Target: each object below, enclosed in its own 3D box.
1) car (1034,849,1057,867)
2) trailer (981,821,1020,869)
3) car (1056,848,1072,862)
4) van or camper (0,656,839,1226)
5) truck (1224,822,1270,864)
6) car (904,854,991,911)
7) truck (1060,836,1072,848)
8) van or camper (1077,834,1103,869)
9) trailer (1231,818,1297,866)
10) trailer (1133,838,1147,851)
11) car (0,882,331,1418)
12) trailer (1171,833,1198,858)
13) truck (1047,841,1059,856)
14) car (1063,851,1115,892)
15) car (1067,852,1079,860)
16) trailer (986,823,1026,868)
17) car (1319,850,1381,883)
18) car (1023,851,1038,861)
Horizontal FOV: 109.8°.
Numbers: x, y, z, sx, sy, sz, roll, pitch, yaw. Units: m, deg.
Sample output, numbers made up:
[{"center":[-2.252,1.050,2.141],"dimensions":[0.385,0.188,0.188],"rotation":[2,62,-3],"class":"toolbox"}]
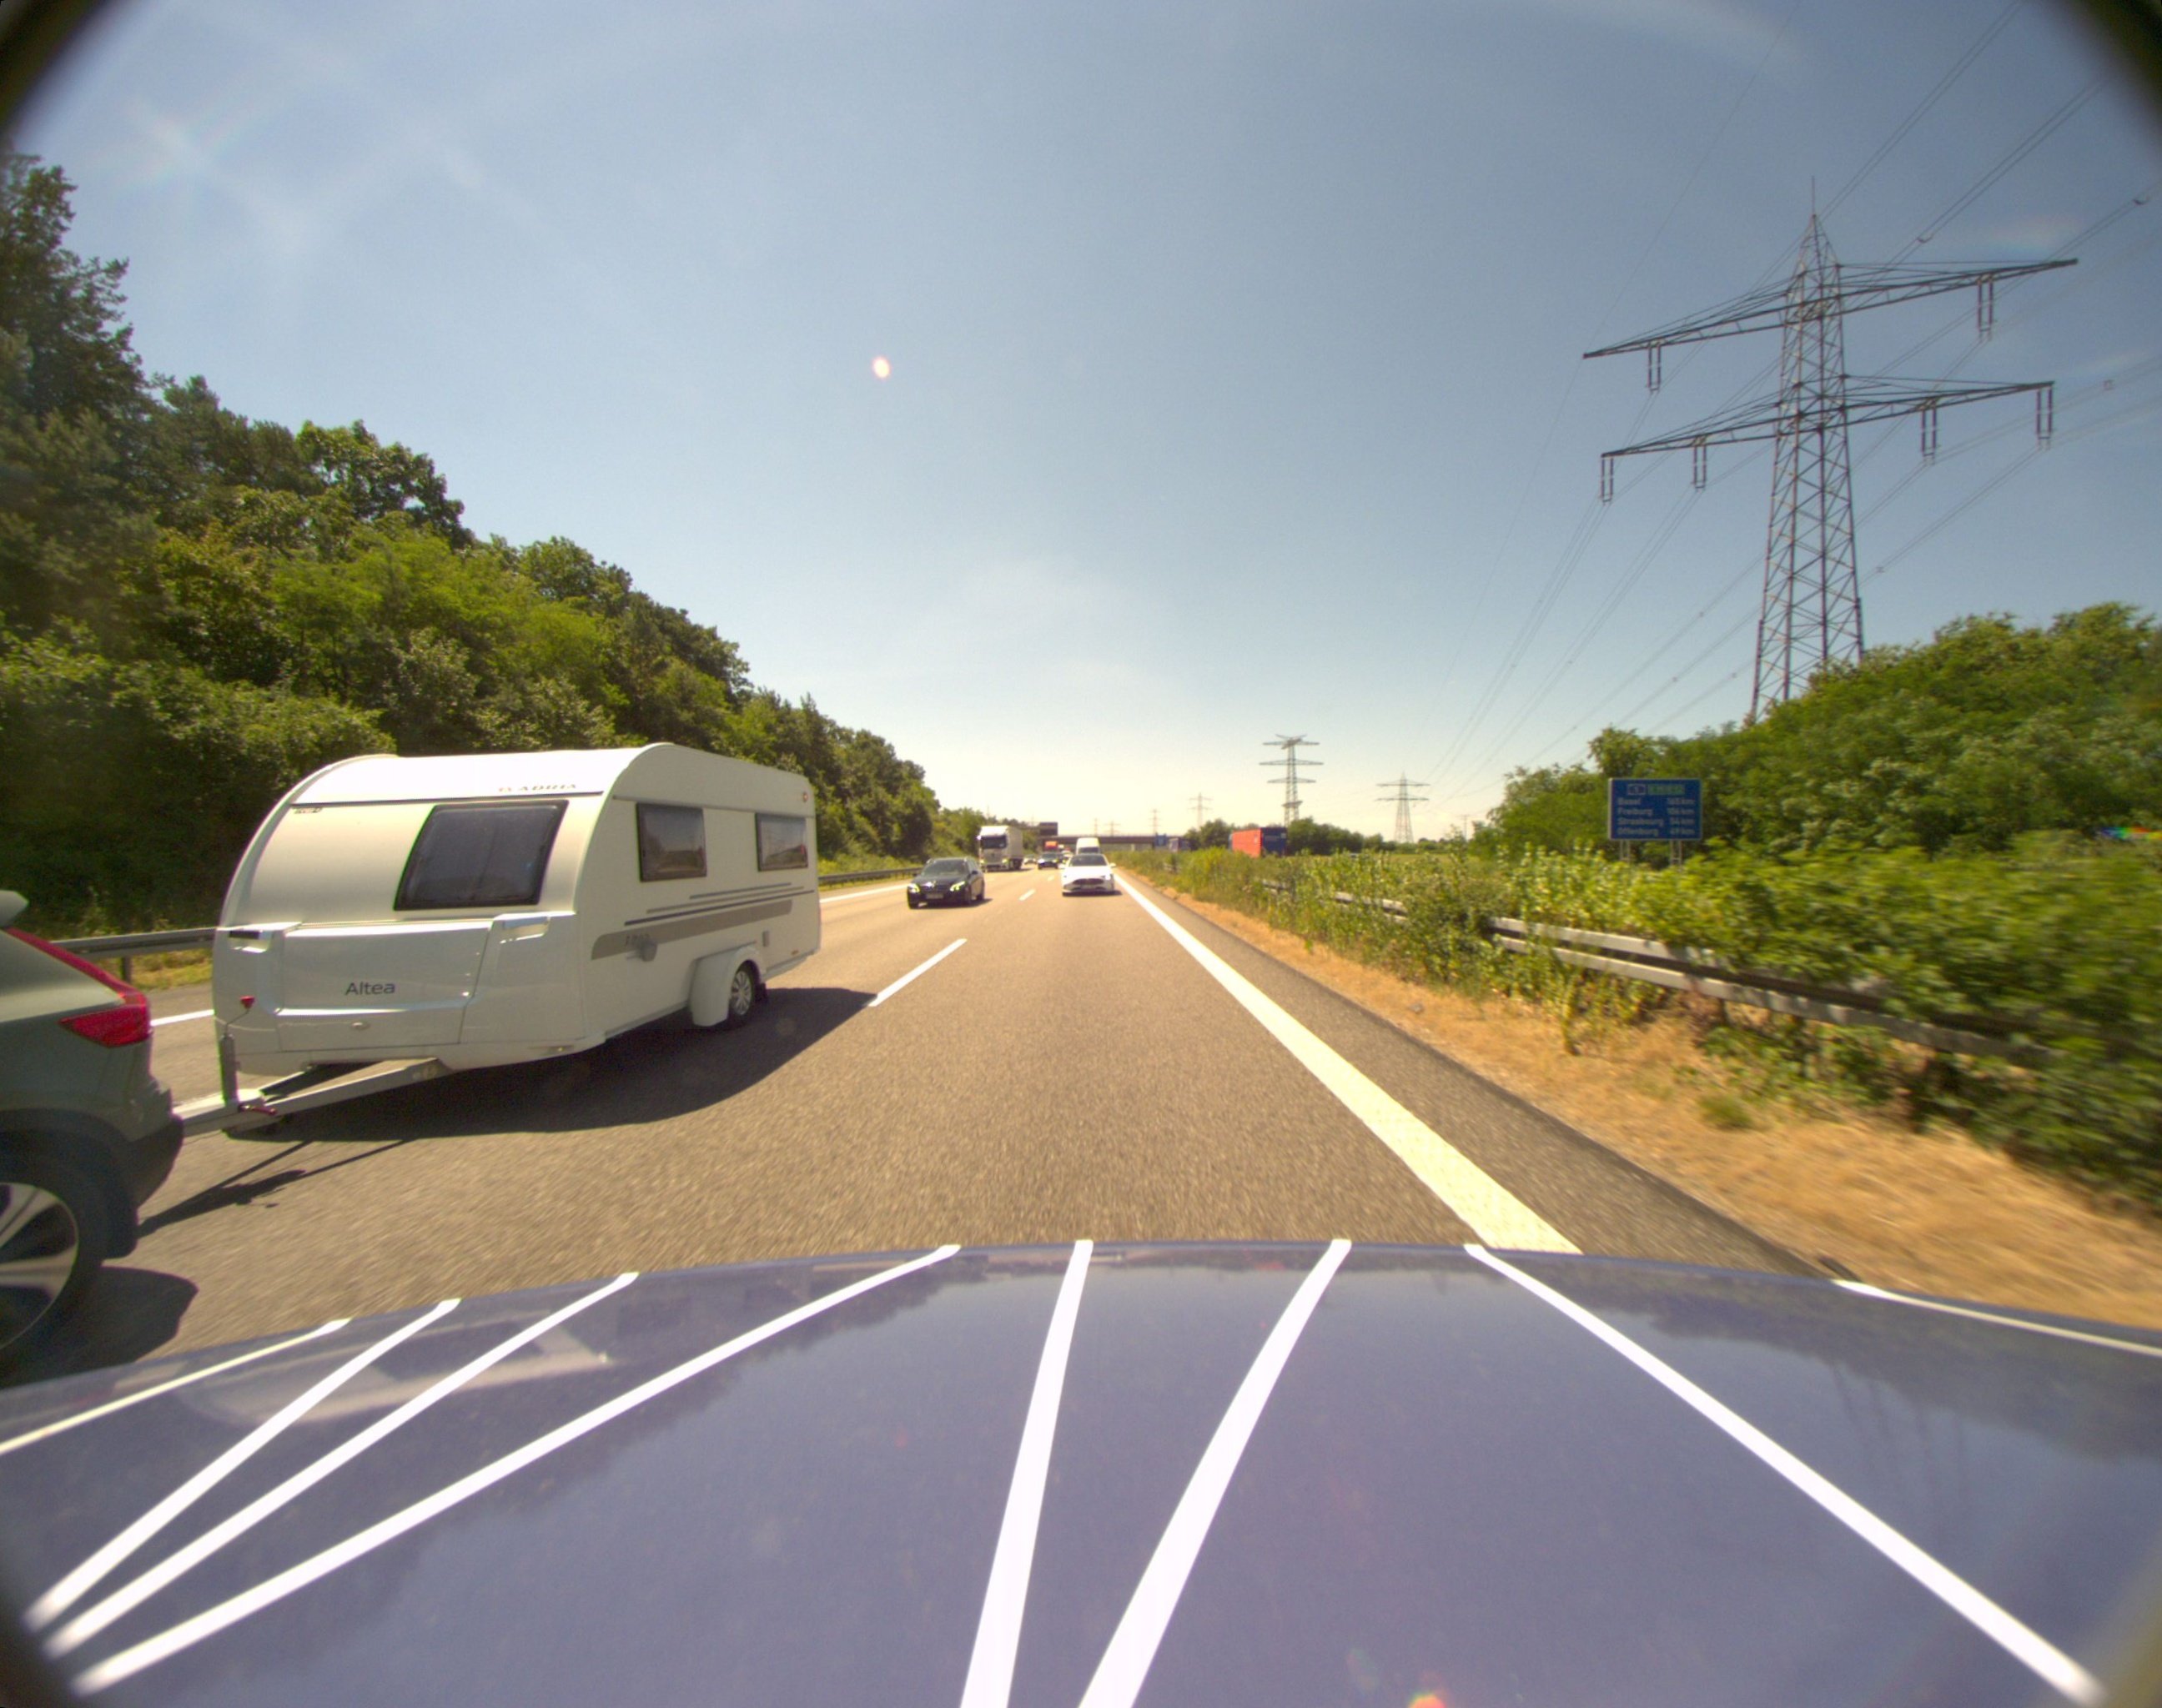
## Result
[{"center":[-3.343,0.342,72.979],"dimensions":[1.984,1.671,4.558],"rotation":[-2,0,-1],"class":"car"},{"center":[-7.239,-0.772,69.065],"dimensions":[2.720,4.079,6.788],"rotation":[-1,1,-1],"class":"trailer"},{"center":[-2.195,0.134,97.931],"dimensions":[1.984,1.671,4.557],"rotation":[0,1,-1],"class":"car"},{"center":[-4.366,0.400,6.762],"dimensions":[2.445,2.659,6.348],"rotation":[-1,0,-1],"class":"van or camper"},{"center":[18.734,-1.250,86.230],"dimensions":[3.352,4.382,7.971],"rotation":[2,1,0],"class":"truck"},{"center":[-4.169,0.828,24.460],"dimensions":[1.846,1.497,4.737],"rotation":[-2,1,1],"class":"car"},{"center":[-4.877,-3.932,247.181],"dimensions":[3.507,3.891,9.645],"rotation":[-1,1,-2],"class":"truck"},{"center":[0.793,-0.237,64.604],"dimensions":[1.998,2.741,5.410],"rotation":[-2,1,1],"class":"van or camper"},{"center":[18.667,-1.193,78.762],"dimensions":[3.352,4.382,14.164],"rotation":[2,0,1],"class":"trailer"},{"center":[19.703,-3.100,255.077],"dimensions":[3.376,4.383,14.318],"rotation":[1,0,0],"class":"trailer"},{"center":[-4.275,0.964,0.987],"dimensions":[1.884,1.603,4.701],"rotation":[-2,0,0],"class":"car"},{"center":[19.485,-1.542,144.167],"dimensions":[3.095,4.382,14.230],"rotation":[1,0,0],"class":"trailer"},{"center":[-6.437,-1.344,177.433],"dimensions":[2.582,3.204,5.712],"rotation":[-3,1,-1],"class":"truck"},{"center":[0.276,0.665,31.225],"dimensions":[1.984,1.525,4.558],"rotation":[-1,0,-1],"class":"car"},{"center":[-1.482,0.385,139.693],"dimensions":[1.984,1.525,4.137],"rotation":[-1,0,-1],"class":"car"},{"center":[-7.323,-0.816,76.098],"dimensions":[2.736,4.079,13.187],"rotation":[-2,0,-1],"class":"trailer"},{"center":[13.005,0.593,36.984],"dimensions":[1.706,1.525,3.618],"rotation":[0,0,-1],"class":"car"},{"center":[-7.315,0.295,110.016],"dimensions":[1.840,1.403,4.558],"rotation":[-2,0,-1],"class":"car"}]
